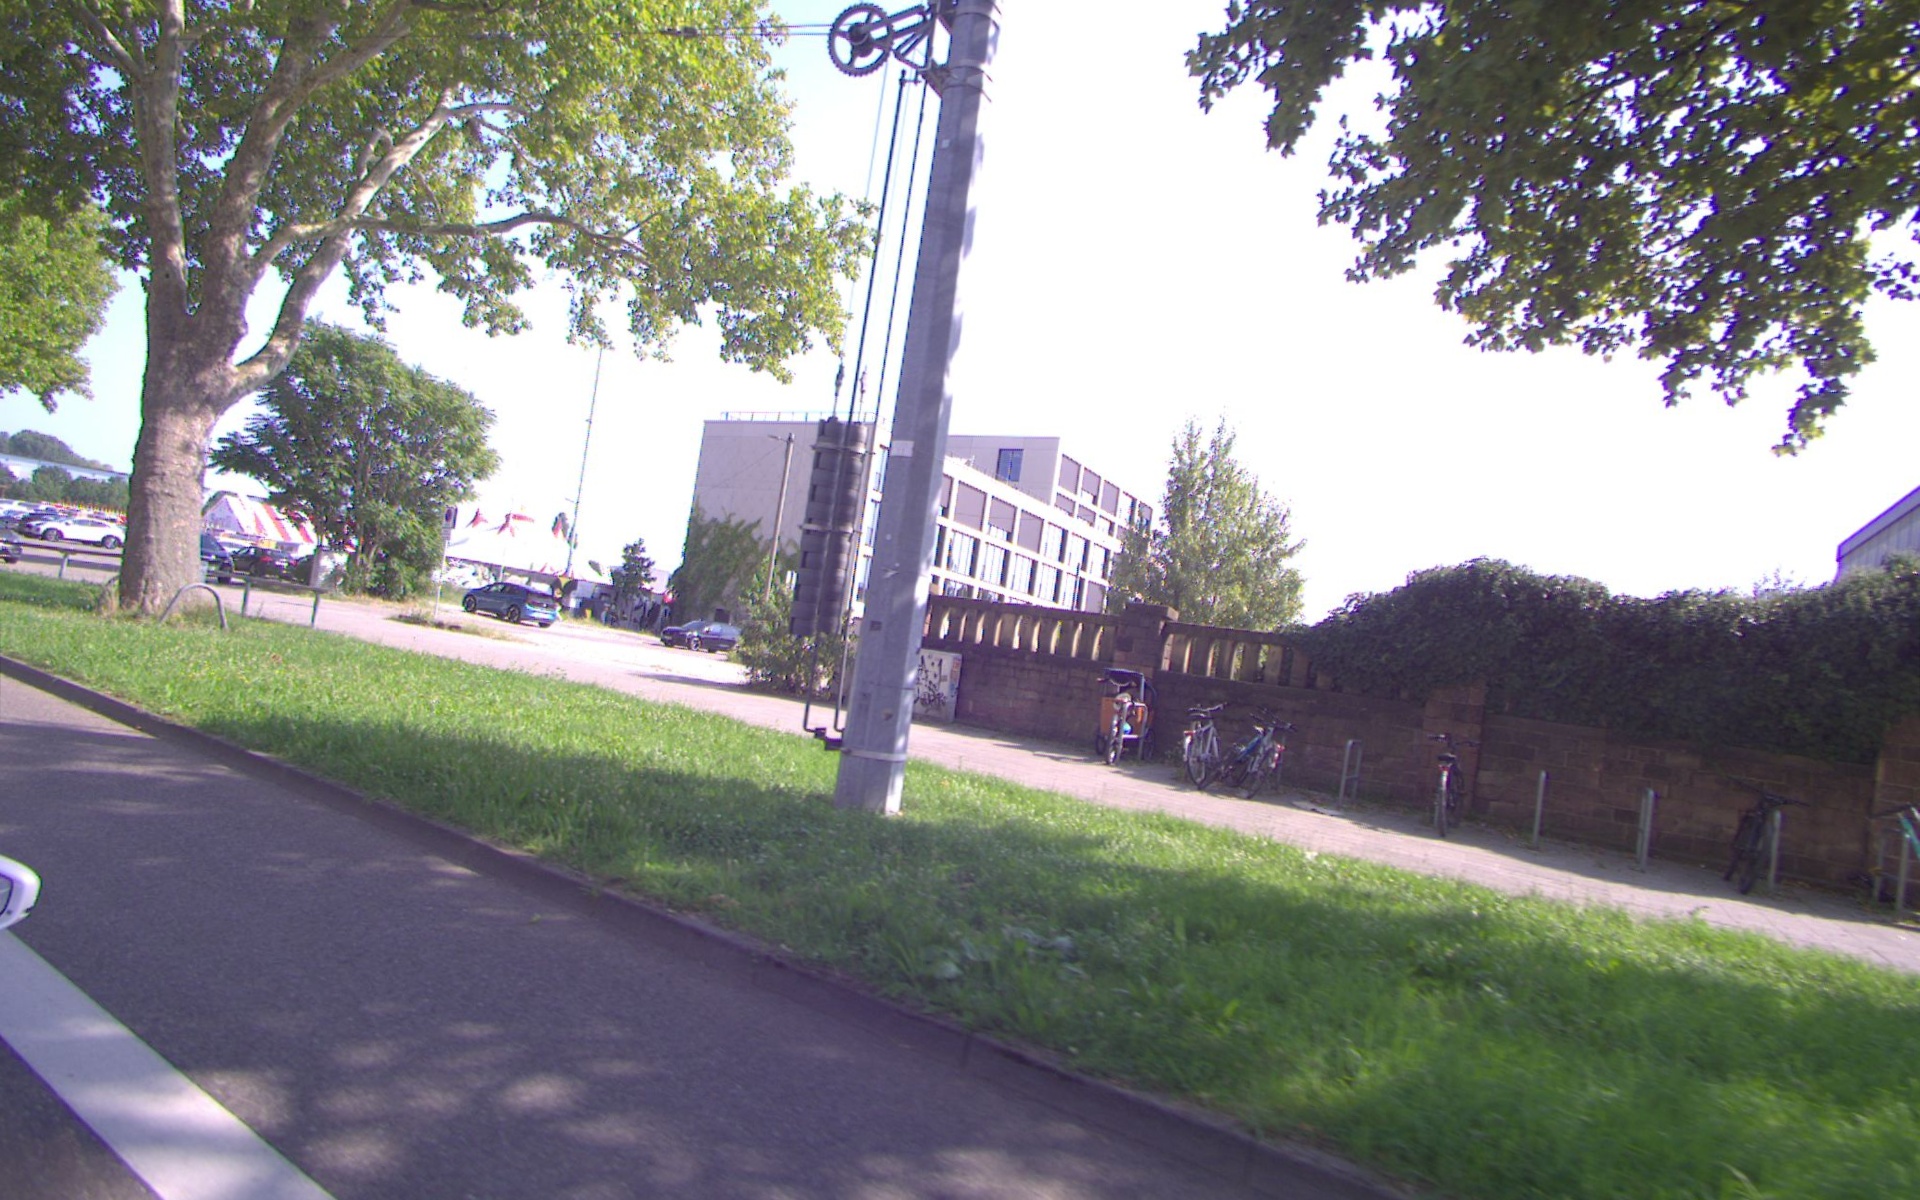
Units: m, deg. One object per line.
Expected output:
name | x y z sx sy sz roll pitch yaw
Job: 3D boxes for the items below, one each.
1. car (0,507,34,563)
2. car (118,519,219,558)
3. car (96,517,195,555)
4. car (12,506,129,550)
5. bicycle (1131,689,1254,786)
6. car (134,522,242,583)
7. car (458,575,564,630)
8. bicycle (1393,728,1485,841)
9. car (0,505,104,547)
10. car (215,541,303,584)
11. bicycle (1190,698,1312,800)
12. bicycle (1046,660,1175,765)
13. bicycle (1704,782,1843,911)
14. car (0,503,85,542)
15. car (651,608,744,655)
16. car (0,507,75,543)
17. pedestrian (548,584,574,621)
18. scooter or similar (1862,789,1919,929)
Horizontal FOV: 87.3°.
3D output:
car | -28.629 -2.085 28.900 4.475 1.465 1.731 7 -2 32
car | -48.713 -3.758 61.998 1.914 1.479 4.359 7 -4 30
car | -51.549 -4.033 63.752 1.914 1.479 4.359 7 -4 30
car | -49.127 -3.936 55.666 1.914 1.479 4.359 7 -4 30
bicycle | 3.123 1.788 13.342 0.731 1.089 2.175 7 -1 35
car | -26.649 -1.642 34.689 3.733 1.593 1.611 7 -2 32
car | -18.573 0.107 41.626 3.887 1.592 1.711 8 -4 26
bicycle | 5.683 2.123 11.859 0.730 1.088 2.180 7 -3 30
car | -51.945 -4.213 57.257 1.914 1.479 4.359 7 -4 30
car | -33.225 -1.783 47.642 4.048 1.410 1.819 7 -3 31
bicycle | 3.753 1.859 12.839 0.731 1.089 2.175 7 -1 35
bicycle | 2.247 1.622 14.711 0.982 1.292 2.248 6 -2 31
bicycle | 8.408 2.501 10.483 0.722 1.017 1.872 7 -3 30
car | -61.894 -5.221 67.409 1.914 1.730 4.359 7 -4 30
car | -11.792 1.450 45.417 1.717 1.500 3.797 7 -4 30
car | -55.940 -4.597 59.927 1.914 1.479 4.359 7 -4 30
pedestrian | -19.163 0.106 48.345 0.921 1.661 0.697 8 -2 -26
scooter or similar | 9.425 2.538 9.898 0.530 1.205 1.507 7 -2 35
